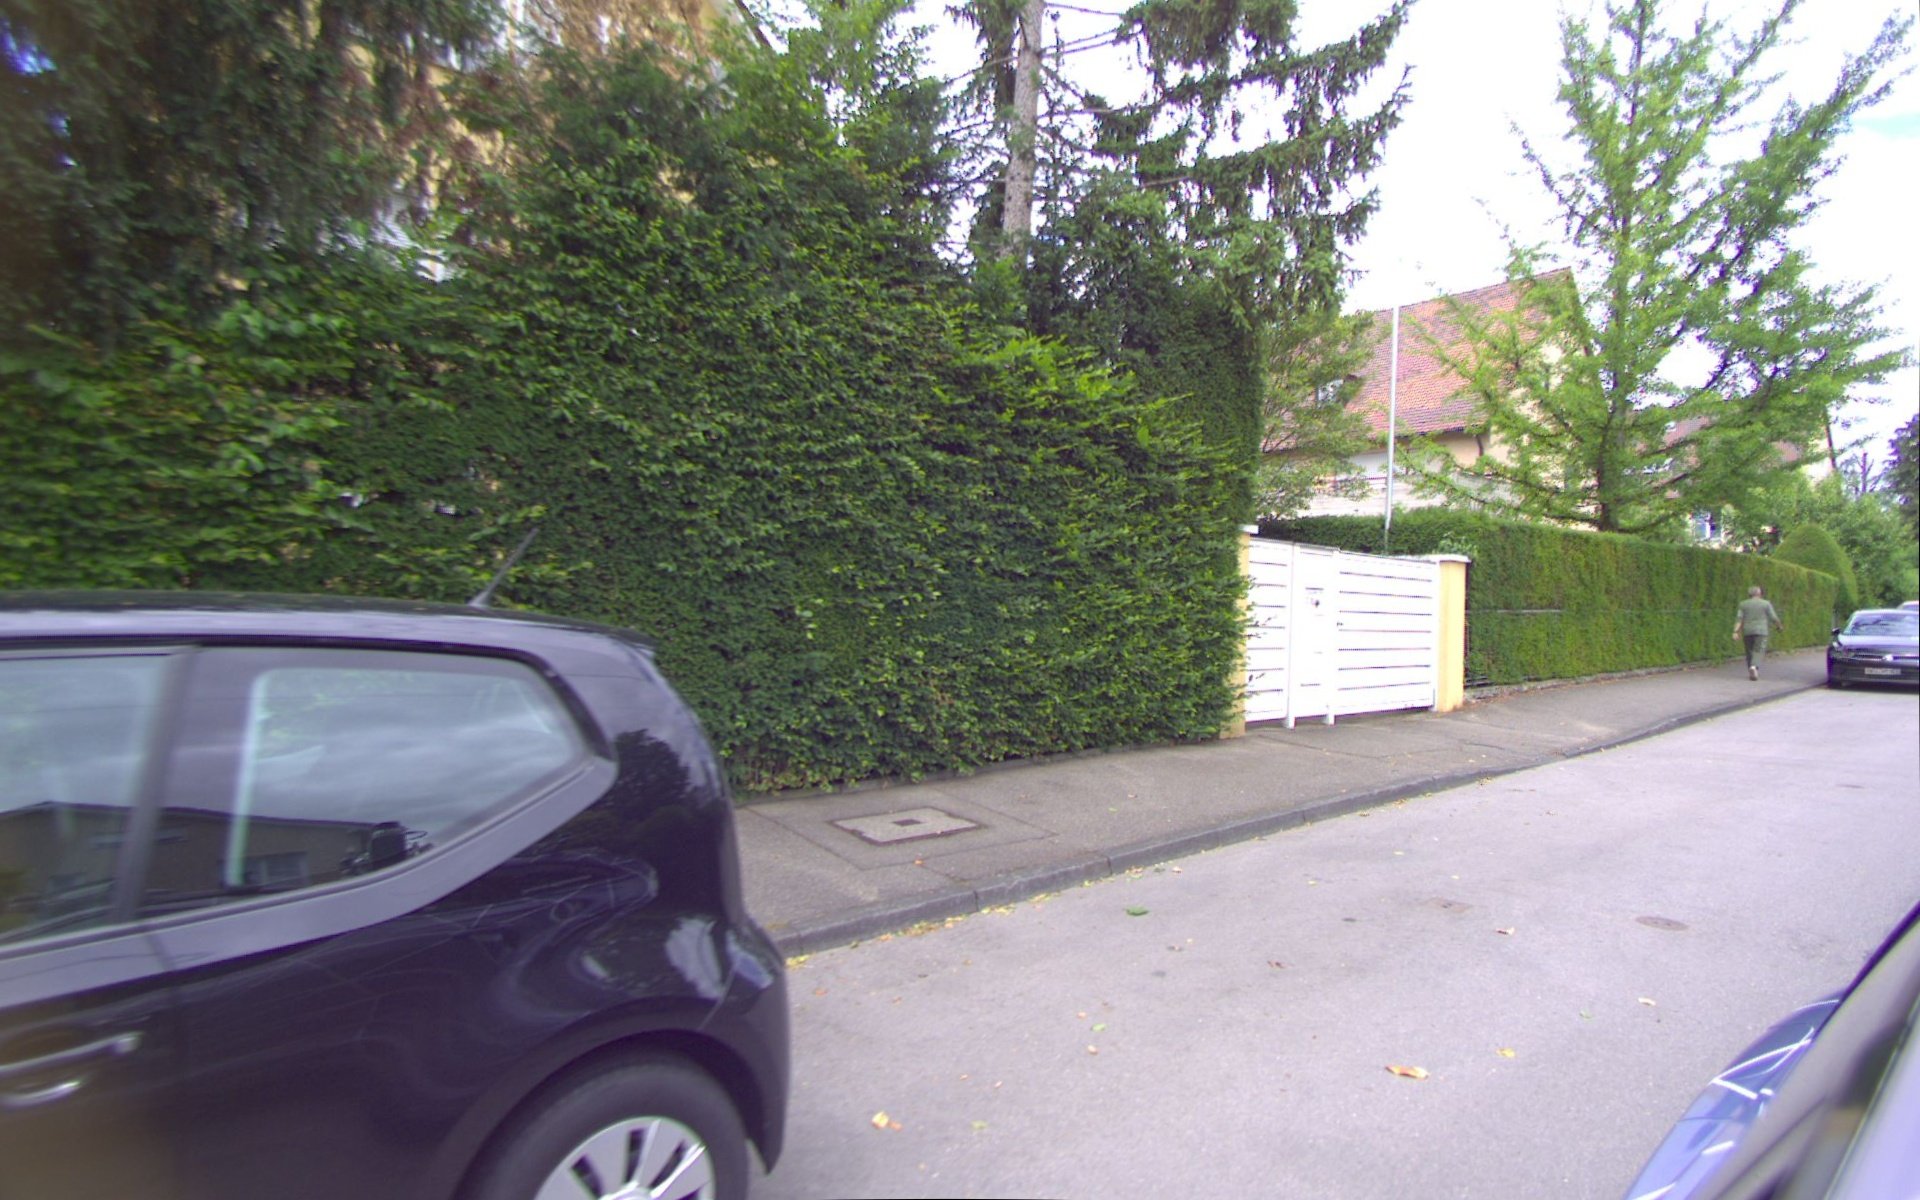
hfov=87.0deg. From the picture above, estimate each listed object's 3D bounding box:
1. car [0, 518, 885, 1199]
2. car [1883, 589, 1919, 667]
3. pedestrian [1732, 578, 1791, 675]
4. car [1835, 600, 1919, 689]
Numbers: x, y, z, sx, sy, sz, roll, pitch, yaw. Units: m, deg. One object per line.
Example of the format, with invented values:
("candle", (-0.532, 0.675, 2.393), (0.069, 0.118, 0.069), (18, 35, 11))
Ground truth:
("car", (-2.087, 0.630, 1.705), (3.674, 1.492, 1.626), (1, 0, -41))
("car", (21.989, 0.600, 22.244), (4.680, 1.600, 1.893), (0, 2, -40))
("pedestrian", (14.672, 0.463, 18.523), (0.902, 1.719, 0.670), (1, 1, -42))
("car", (17.319, 0.752, 18.420), (3.986, 1.424, 1.681), (0, 2, -44))
